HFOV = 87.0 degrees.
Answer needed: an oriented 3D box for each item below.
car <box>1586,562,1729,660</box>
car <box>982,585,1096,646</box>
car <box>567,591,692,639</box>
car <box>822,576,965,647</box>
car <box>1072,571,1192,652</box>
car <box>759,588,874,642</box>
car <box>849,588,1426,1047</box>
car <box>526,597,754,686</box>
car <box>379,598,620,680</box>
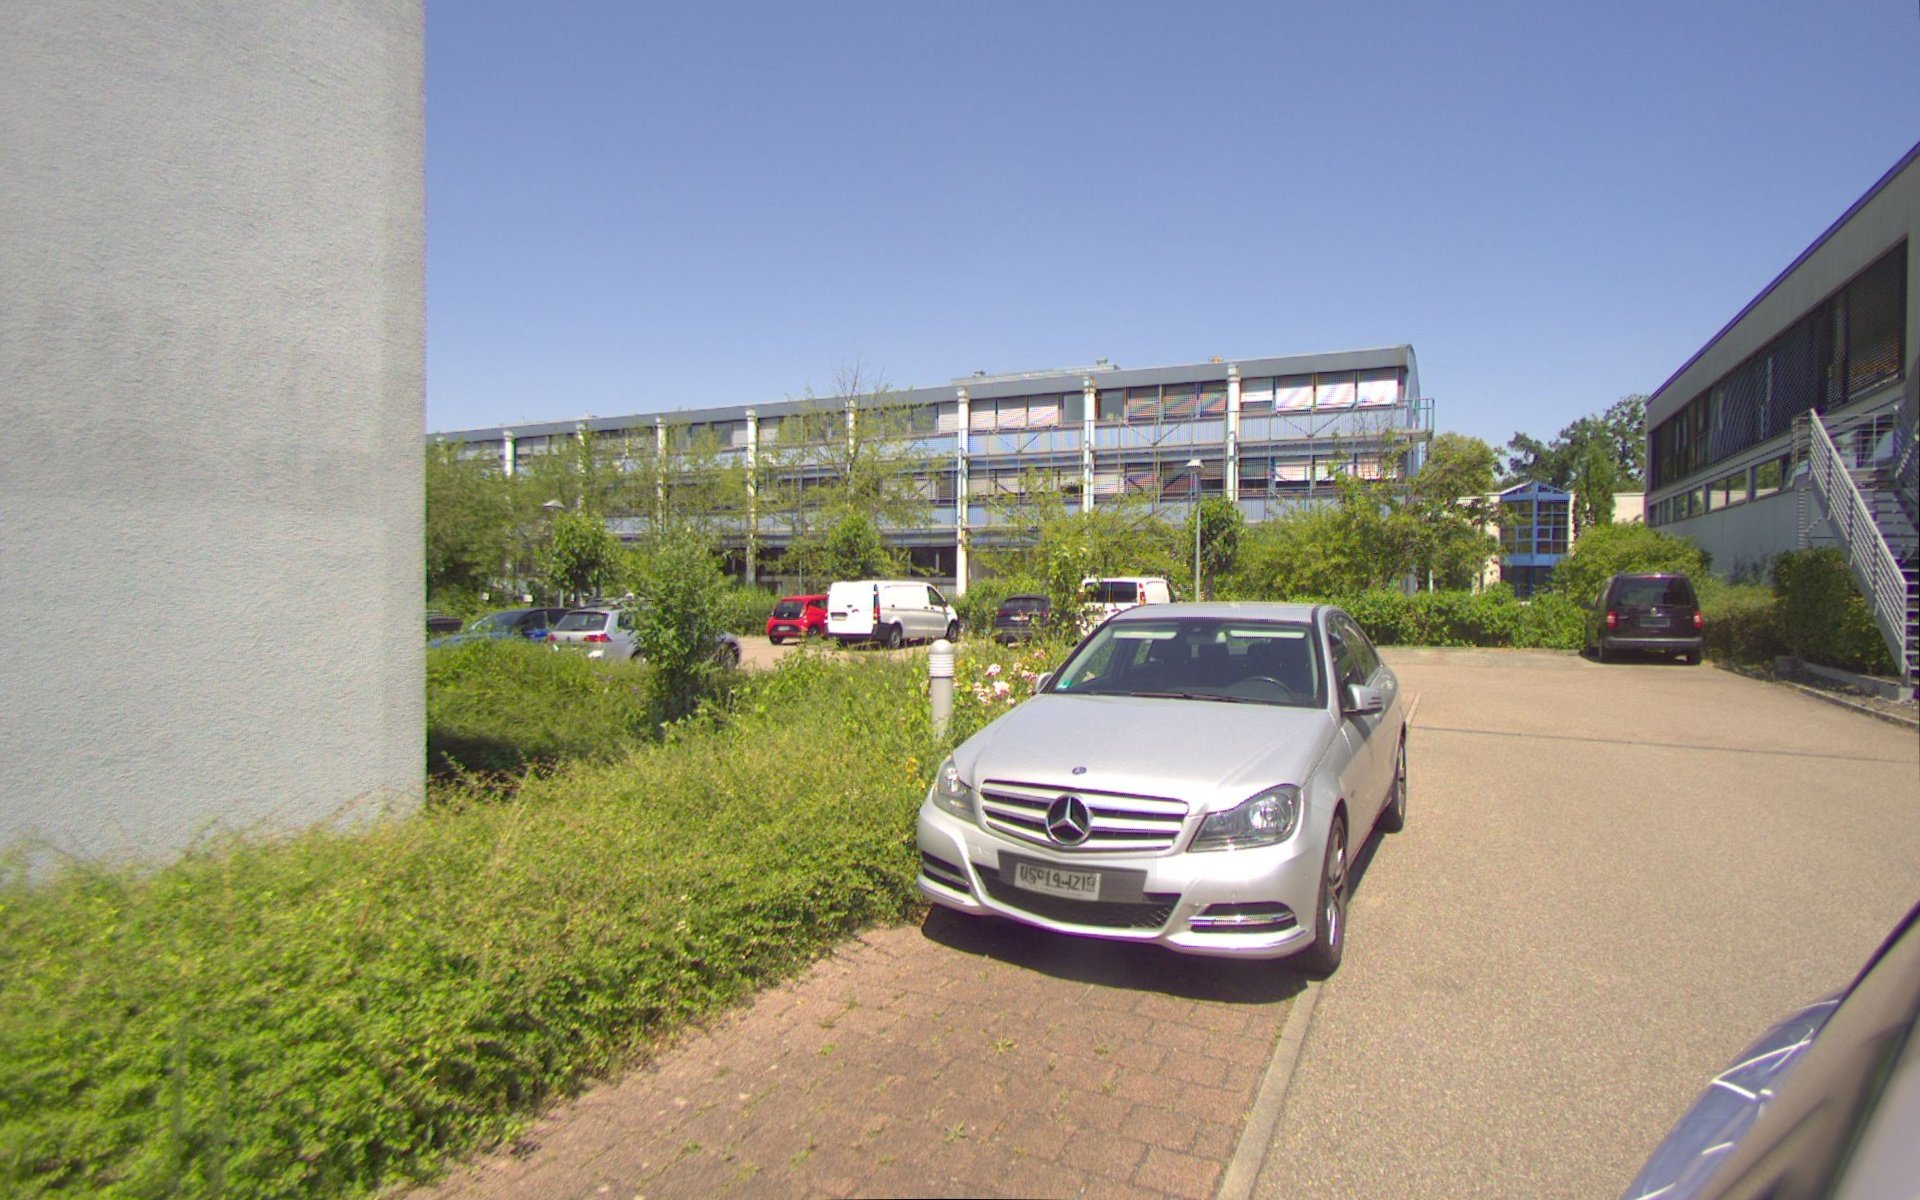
[{"bbox_3d":[14.759,0.180,21.648,1.849,1.883,4.192,-1,1,26],"label":"car"},{"bbox_3d":[2.237,0.365,27.653,1.722,1.502,4.161,-1,1,26],"label":"car"},{"bbox_3d":[-11.296,0.470,34.860,1.724,1.502,4.044,-1,1,29],"label":"car"},{"bbox_3d":[-1.814,0.252,29.332,1.839,1.879,4.888,-1,1,28],"label":"car"},{"bbox_3d":[4.521,0.233,26.027,1.849,1.883,4.636,-1,1,26],"label":"car"},{"bbox_3d":[-4.410,0.427,31.656,1.610,1.506,3.883,-1,1,28],"label":"car"},{"bbox_3d":[1.392,0.656,5.553,1.789,1.415,4.374,0,1,29],"label":"car"},{"bbox_3d":[-6.172,0.726,20.089,1.838,1.539,4.388,-1,0,26],"label":"car"},{"bbox_3d":[-9.563,0.732,21.447,1.838,1.513,4.571,-1,0,26],"label":"car"}]
